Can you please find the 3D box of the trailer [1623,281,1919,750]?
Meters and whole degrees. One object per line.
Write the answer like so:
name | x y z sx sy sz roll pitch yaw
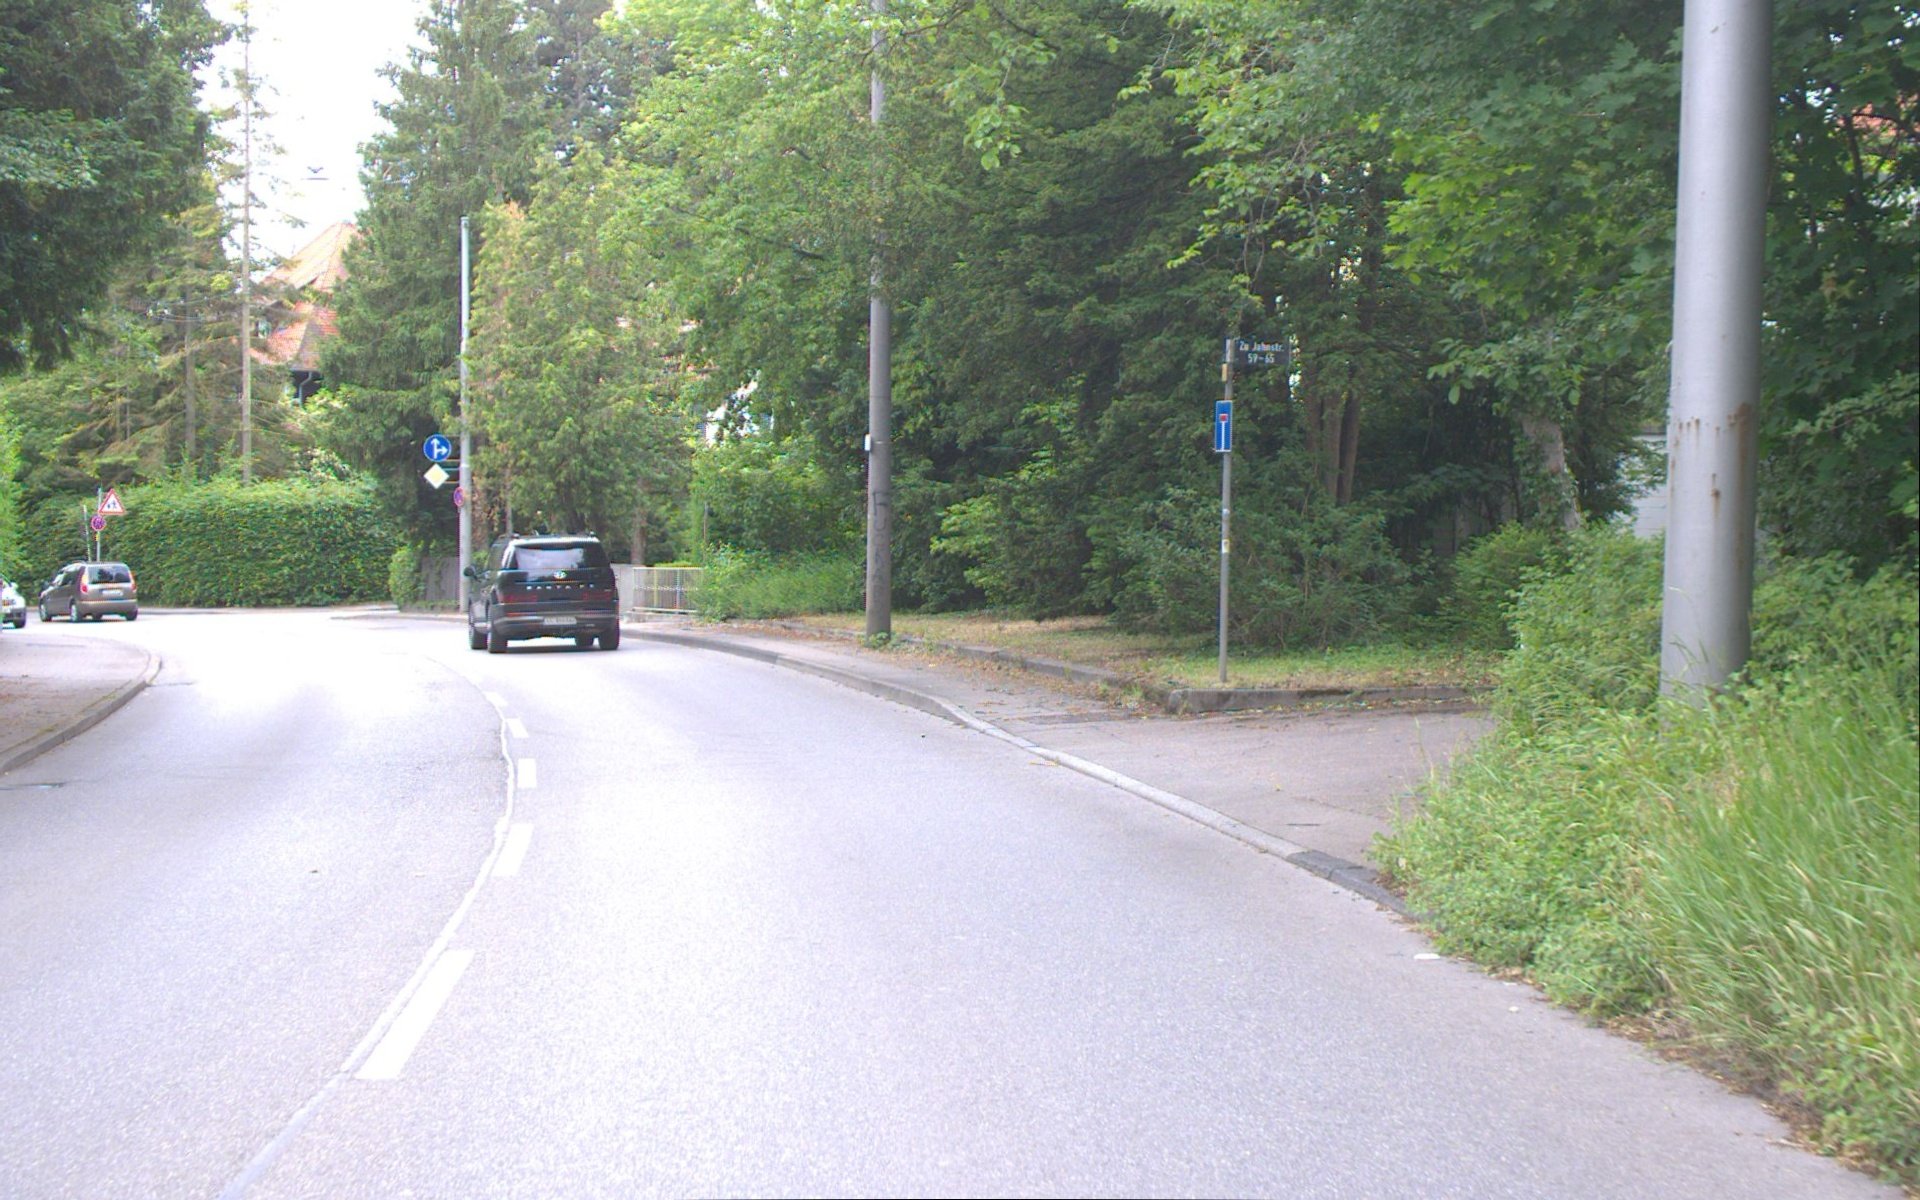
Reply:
trailer | 6.069 -0.558 22.241 3.115 2.889 1.593 -1 1 -9

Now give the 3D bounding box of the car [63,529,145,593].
car | -22.974 -1.060 92.370 1.993 1.612 4.002 0 2 -12

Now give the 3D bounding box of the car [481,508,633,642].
car | -6.072 -0.405 51.451 1.993 1.875 4.001 0 2 -10
